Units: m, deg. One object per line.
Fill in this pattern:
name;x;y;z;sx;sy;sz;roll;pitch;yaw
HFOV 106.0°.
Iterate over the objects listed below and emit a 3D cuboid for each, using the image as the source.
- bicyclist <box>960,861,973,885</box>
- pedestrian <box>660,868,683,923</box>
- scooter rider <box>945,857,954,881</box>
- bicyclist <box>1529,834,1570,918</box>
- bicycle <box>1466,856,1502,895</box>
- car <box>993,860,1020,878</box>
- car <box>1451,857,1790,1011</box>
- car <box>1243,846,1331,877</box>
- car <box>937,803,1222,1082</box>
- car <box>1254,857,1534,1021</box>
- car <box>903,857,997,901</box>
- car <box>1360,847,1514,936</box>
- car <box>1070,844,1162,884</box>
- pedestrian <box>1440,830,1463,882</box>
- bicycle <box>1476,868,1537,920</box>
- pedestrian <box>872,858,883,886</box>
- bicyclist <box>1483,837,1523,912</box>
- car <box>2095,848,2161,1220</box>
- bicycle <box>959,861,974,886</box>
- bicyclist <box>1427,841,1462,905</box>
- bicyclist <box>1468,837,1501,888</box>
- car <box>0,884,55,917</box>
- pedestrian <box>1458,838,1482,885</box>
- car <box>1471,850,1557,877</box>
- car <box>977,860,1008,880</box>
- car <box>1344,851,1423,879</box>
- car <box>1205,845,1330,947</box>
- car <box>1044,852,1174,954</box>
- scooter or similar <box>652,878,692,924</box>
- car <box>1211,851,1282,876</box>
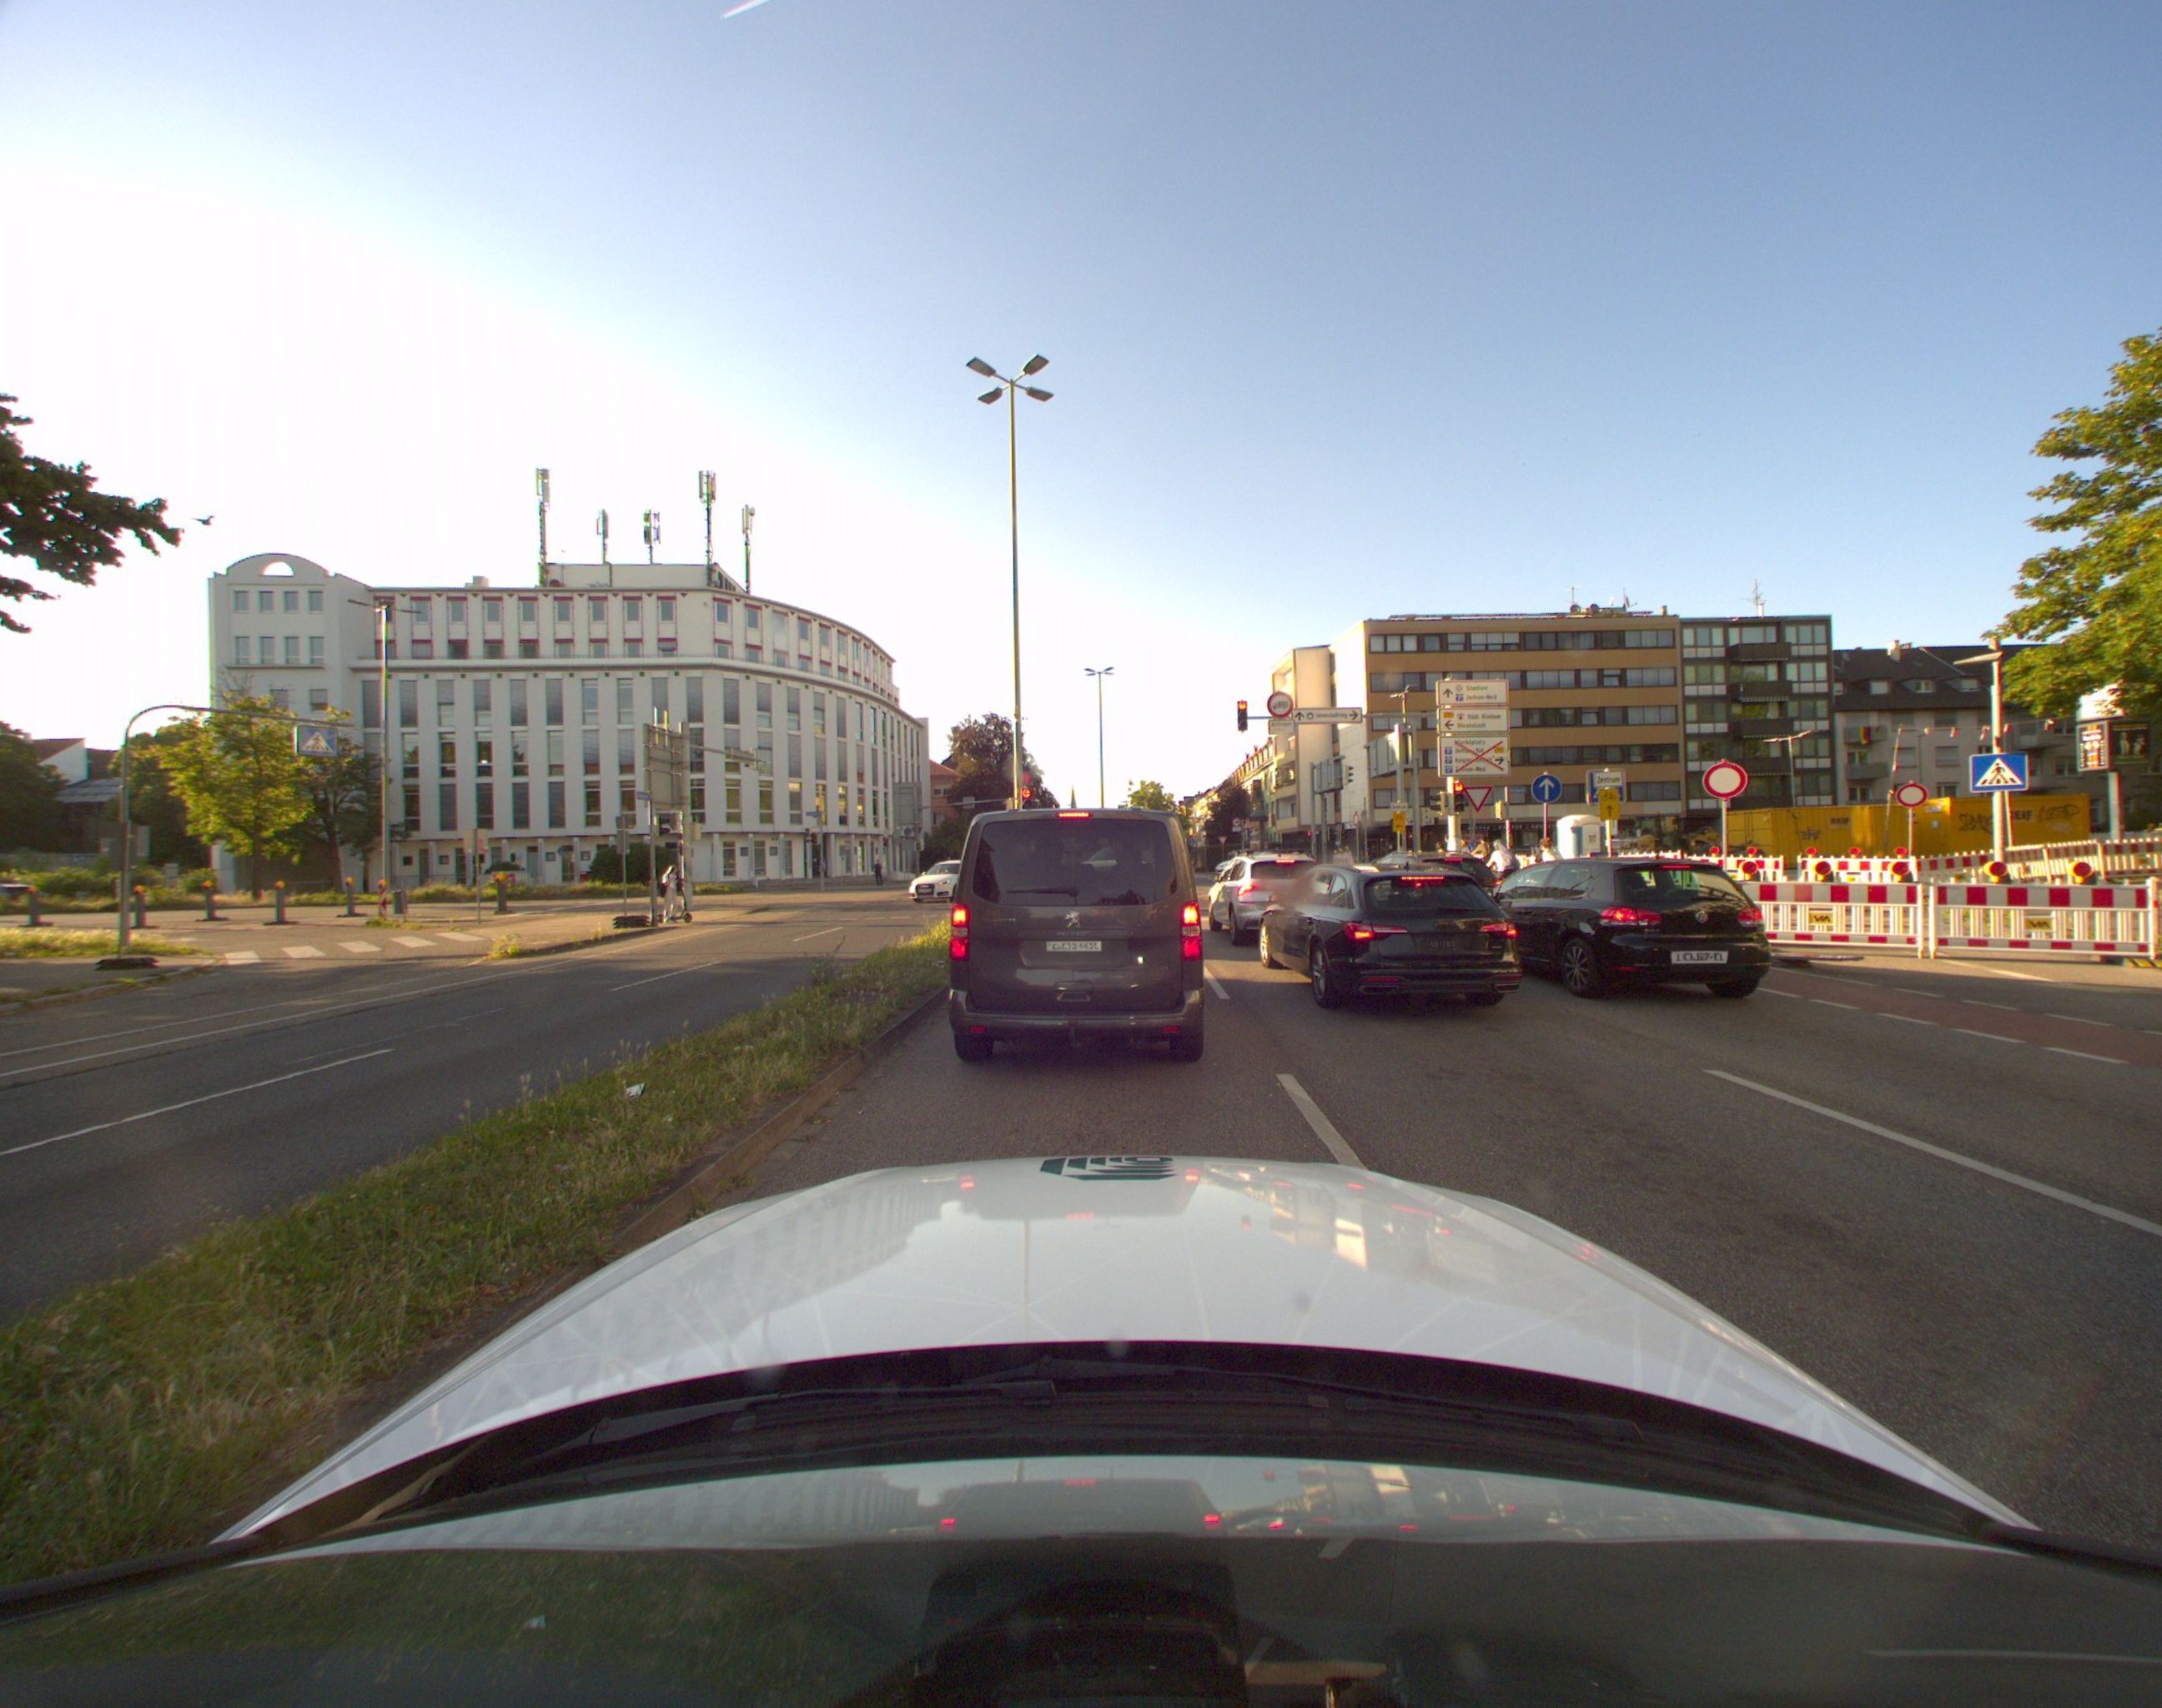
bicyclist;-9.546;1.594;67.921;0.830;2.014;1.065;0;-1;3
pedestrian;-11.561;1.164;22.995;0.474;1.505;0.334;-2;0;-10
scooter rider;-9.471;1.098;58.690;0.479;1.697;0.636;-2;0;1
bicyclist;8.640;0.398;15.041;0.439;1.525;0.482;-2;0;1
bicycle;12.850;0.673;26.016;0.371;1.161;1.499;0;1;-2
car;-6.219;1.228;68.322;1.850;1.420;4.000;-2;0;0
car;5.996;0.773;9.646;1.627;1.449;3.746;0;0;2
car;10.963;0.389;43.488;4.232;1.441;1.695;-2;0;-13
car;0.056;0.594;7.704;1.900;1.863;4.528;0;0;2
car;3.197;0.757;9.264;1.675;1.421;4.215;0;0;2
car;-4.700;0.880;29.638;1.677;1.387;3.705;-3;0;21
car;6.531;0.637;15.297;1.499;1.449;3.306;-2;0;2
car;1.734;0.459;39.809;4.252;1.817;1.976;-2;0;-41
pedestrian;13.270;0.055;29.192;0.567;1.834;0.488;-2;0;4
bicycle;8.908;0.808;17.110;0.335;1.008;1.856;-2;0;2
pedestrian;-12.823;1.144;51.377;0.626;1.722;0.668;-2;0;-12
bicyclist;8.907;0.423;17.194;0.439;1.525;0.725;-2;0;2
car;5.122;0.688;1.050;1.809;1.449;4.665;-1;0;-1
bicycle;-9.544;1.623;67.915;0.712;2.013;2.564;-2;0;2
bicyclist;8.974;0.457;20.130;0.511;1.525;0.725;-2;0;1
bicyclist;12.815;0.253;25.876;0.616;1.589;0.813;0;0;-3
car;-54.296;2.345;40.331;4.330;1.549;1.785;-2;0;-4
pedestrian;13.965;0.278;29.239;0.599;1.671;0.455;-2;0;3
car;24.443;0.539;46.041;3.970;1.418;1.683;-2;0;3
car;-6.777;1.196;62.806;1.850;1.420;4.000;-2;0;0
car;18.402;0.652;49.629;4.109;1.594;1.793;-2;0;-4
car;3.265;0.675;14.878;1.523;1.613;3.746;0;0;2
car;0.499;0.772;14.744;1.986;1.530;4.002;-2;0;2
scooter or similar;-11.468;1.300;22.847;0.893;1.234;0.370;-2;0;-10
car;9.803;0.573;48.392;3.775;1.372;1.648;-2;0;-4
